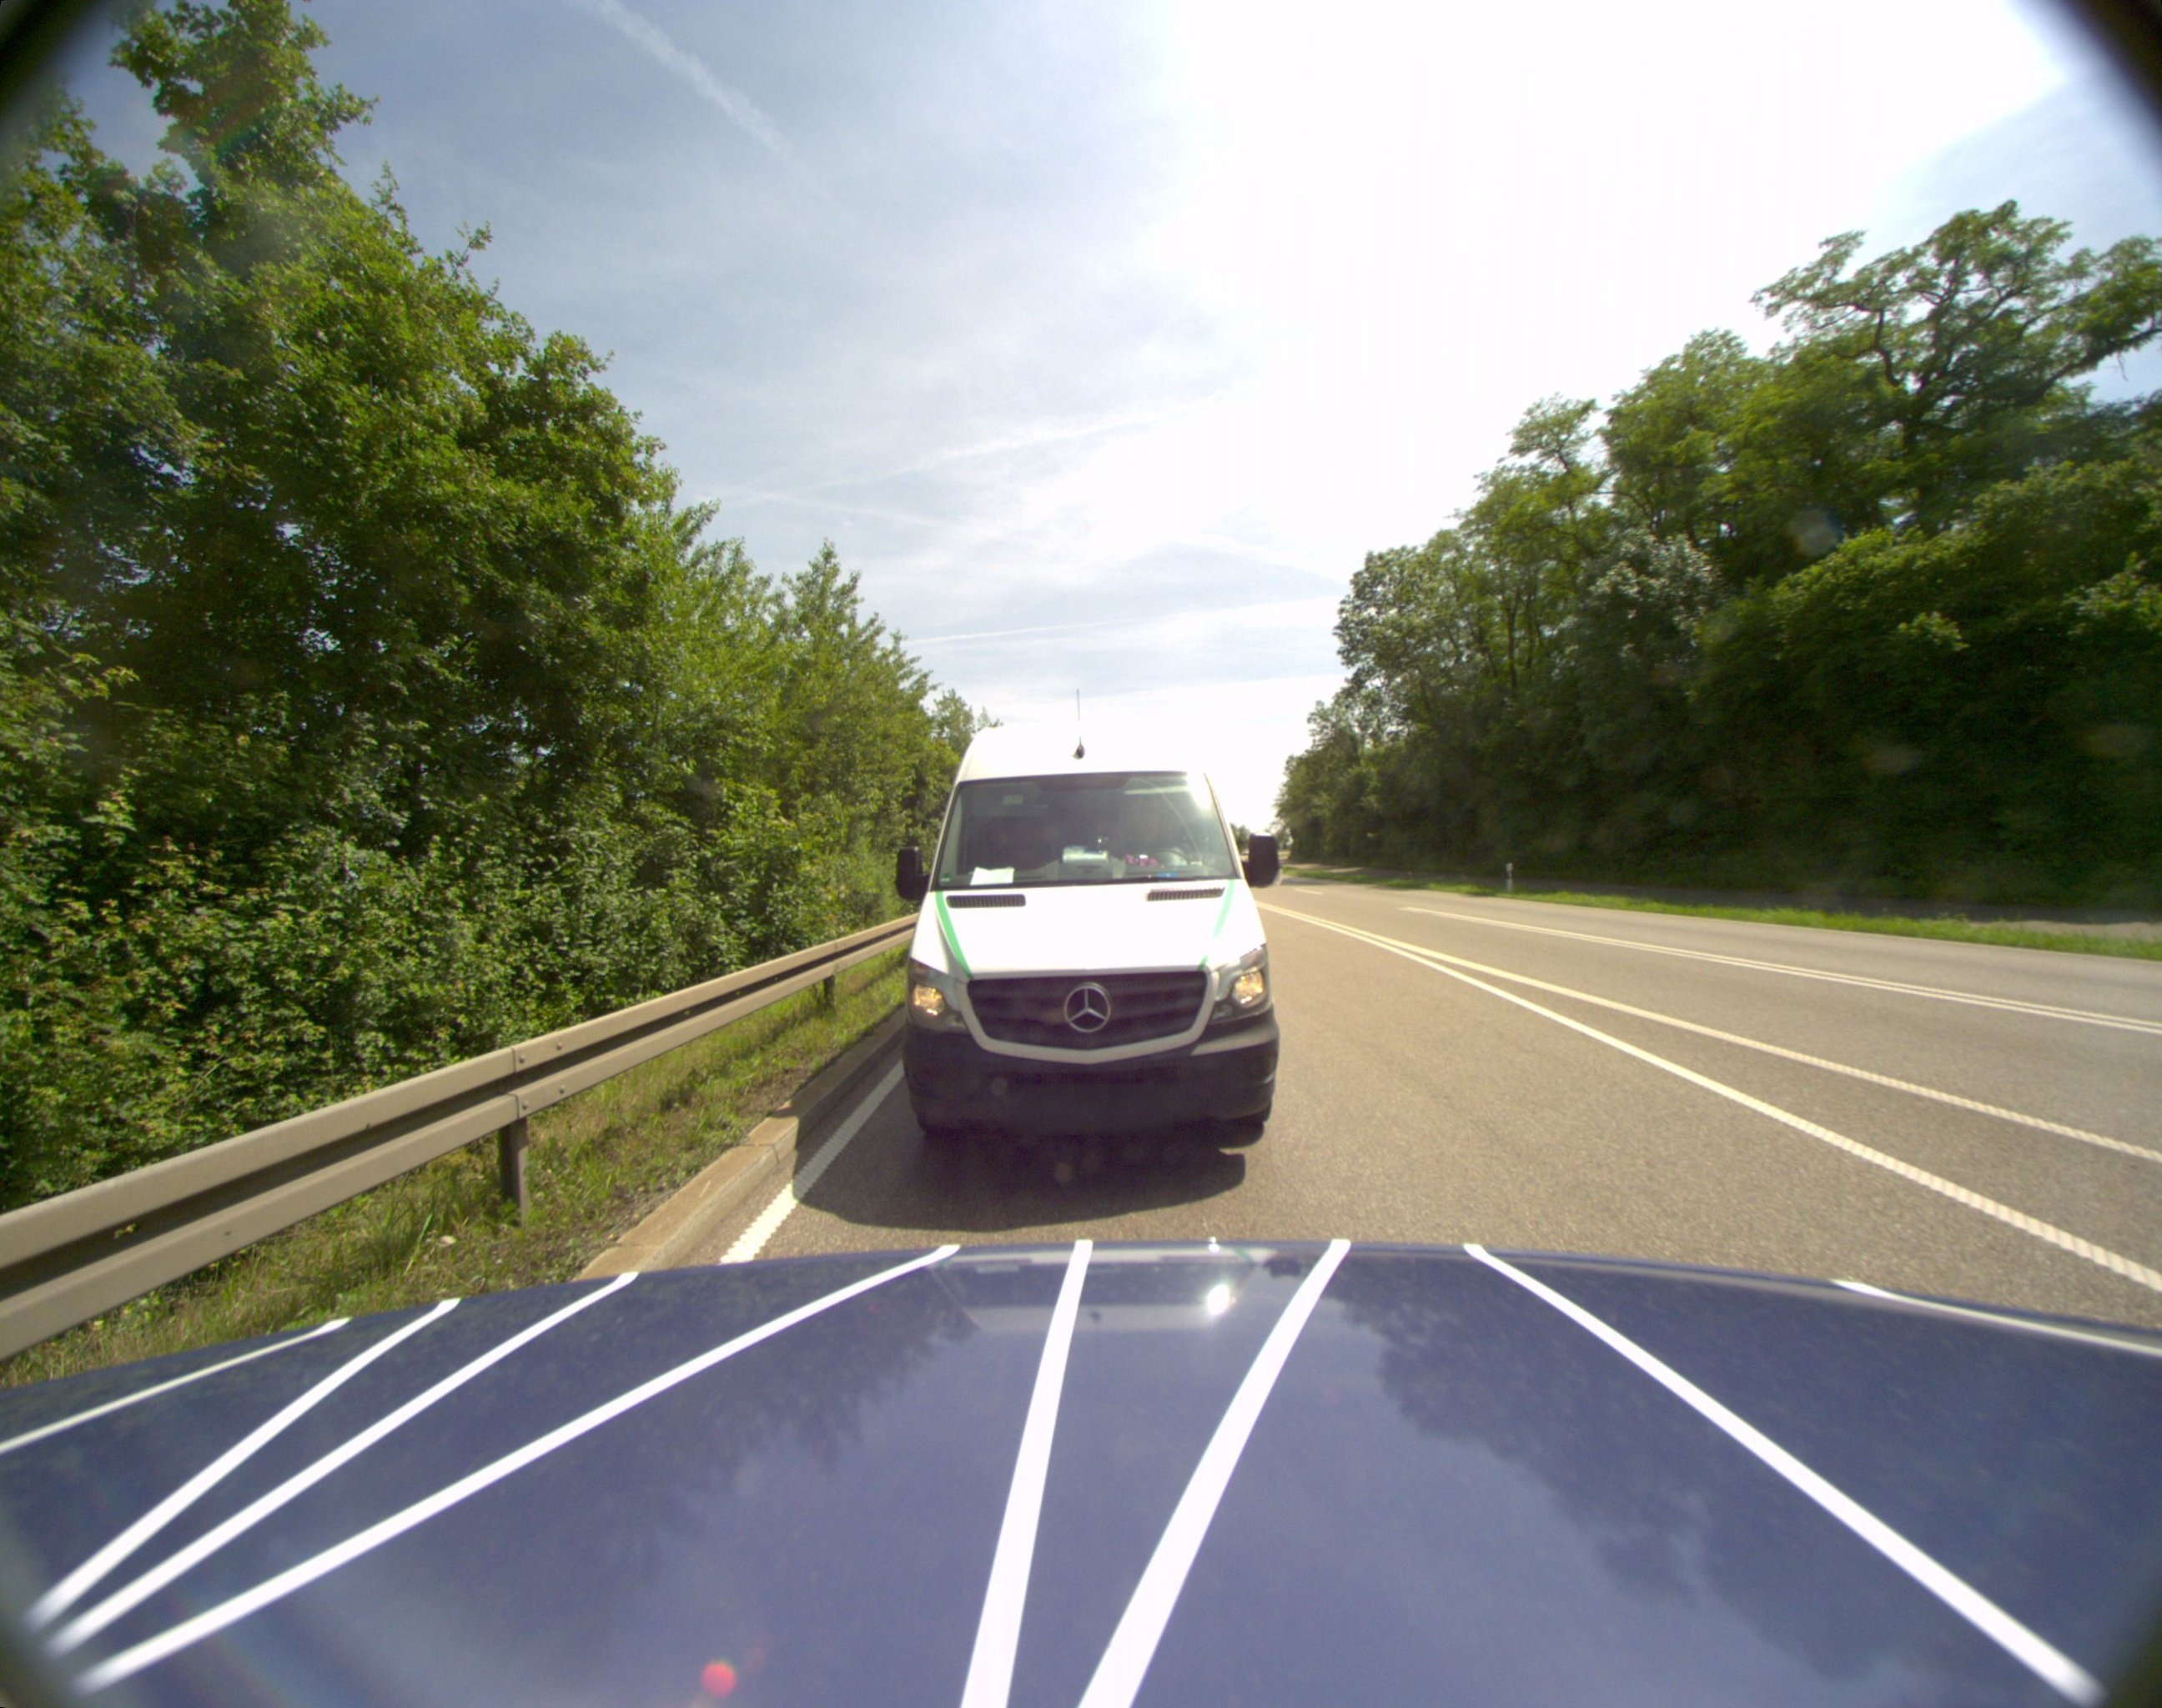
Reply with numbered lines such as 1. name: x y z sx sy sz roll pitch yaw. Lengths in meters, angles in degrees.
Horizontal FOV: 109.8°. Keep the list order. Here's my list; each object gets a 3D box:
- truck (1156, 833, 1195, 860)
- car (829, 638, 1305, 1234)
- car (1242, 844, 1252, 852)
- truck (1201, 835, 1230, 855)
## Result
1. truck: 17.258 -1.425 137.241 4.392 4.433 14.729 -2 0 17
2. car: 0.022 0.367 5.888 1.958 2.502 5.267 -2 0 2
3. car: 47.555 -1.708 217.331 1.853 2.002 3.894 -2 1 24
4. truck: 32.374 -2.222 182.790 3.980 4.433 14.361 -2 0 21
